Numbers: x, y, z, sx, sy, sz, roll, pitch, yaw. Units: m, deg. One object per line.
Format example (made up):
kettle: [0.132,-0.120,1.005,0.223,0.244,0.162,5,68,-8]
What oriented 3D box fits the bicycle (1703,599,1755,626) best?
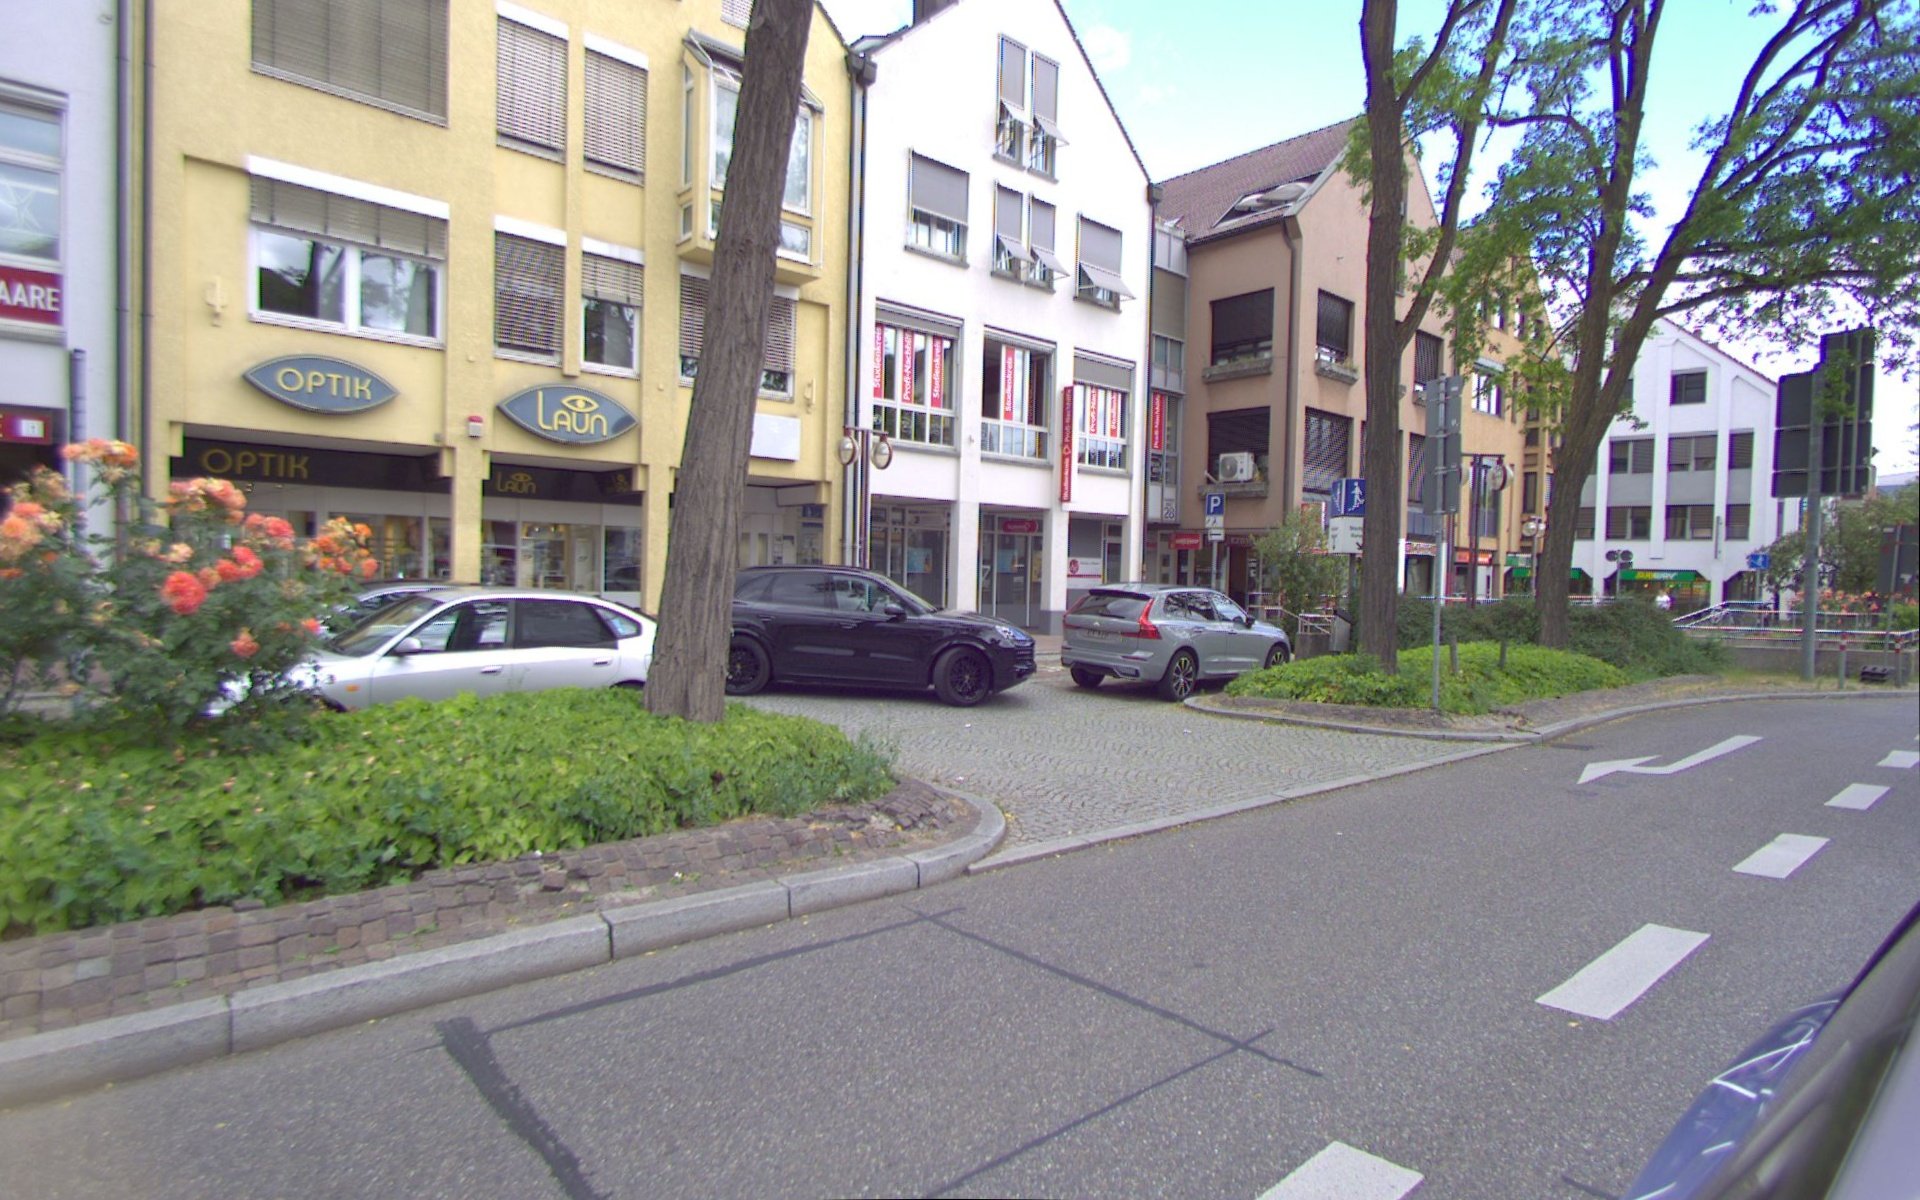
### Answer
bicycle: [30.806,0.498,40.561,1.584,0.981,0.455,2,1,36]

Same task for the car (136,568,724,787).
car: [-4.488,0.514,9.028,4.344,1.468,1.765,0,2,-43]

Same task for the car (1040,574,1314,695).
car: [3.597,0.453,16.187,4.685,1.615,1.996,0,2,-44]

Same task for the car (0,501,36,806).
car: [-8.136,0.278,5.535,4.527,1.899,1.883,0,3,-43]

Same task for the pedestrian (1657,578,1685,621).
pedestrian: [30.596,-0.028,43.553,0.772,1.846,0.869,0,0,-45]

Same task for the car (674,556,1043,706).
car: [-1.283,0.350,13.603,4.575,1.690,1.859,2,2,0]

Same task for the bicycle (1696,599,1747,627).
bicycle: [30.263,0.508,40.218,1.584,1.014,0.409,2,1,37]

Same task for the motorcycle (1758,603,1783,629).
motorcycle: [34.989,0.696,43.689,1.961,1.081,0.464,0,1,-41]

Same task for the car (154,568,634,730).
car: [-6.165,0.424,11.325,4.344,1.393,2.000,0,3,-43]
